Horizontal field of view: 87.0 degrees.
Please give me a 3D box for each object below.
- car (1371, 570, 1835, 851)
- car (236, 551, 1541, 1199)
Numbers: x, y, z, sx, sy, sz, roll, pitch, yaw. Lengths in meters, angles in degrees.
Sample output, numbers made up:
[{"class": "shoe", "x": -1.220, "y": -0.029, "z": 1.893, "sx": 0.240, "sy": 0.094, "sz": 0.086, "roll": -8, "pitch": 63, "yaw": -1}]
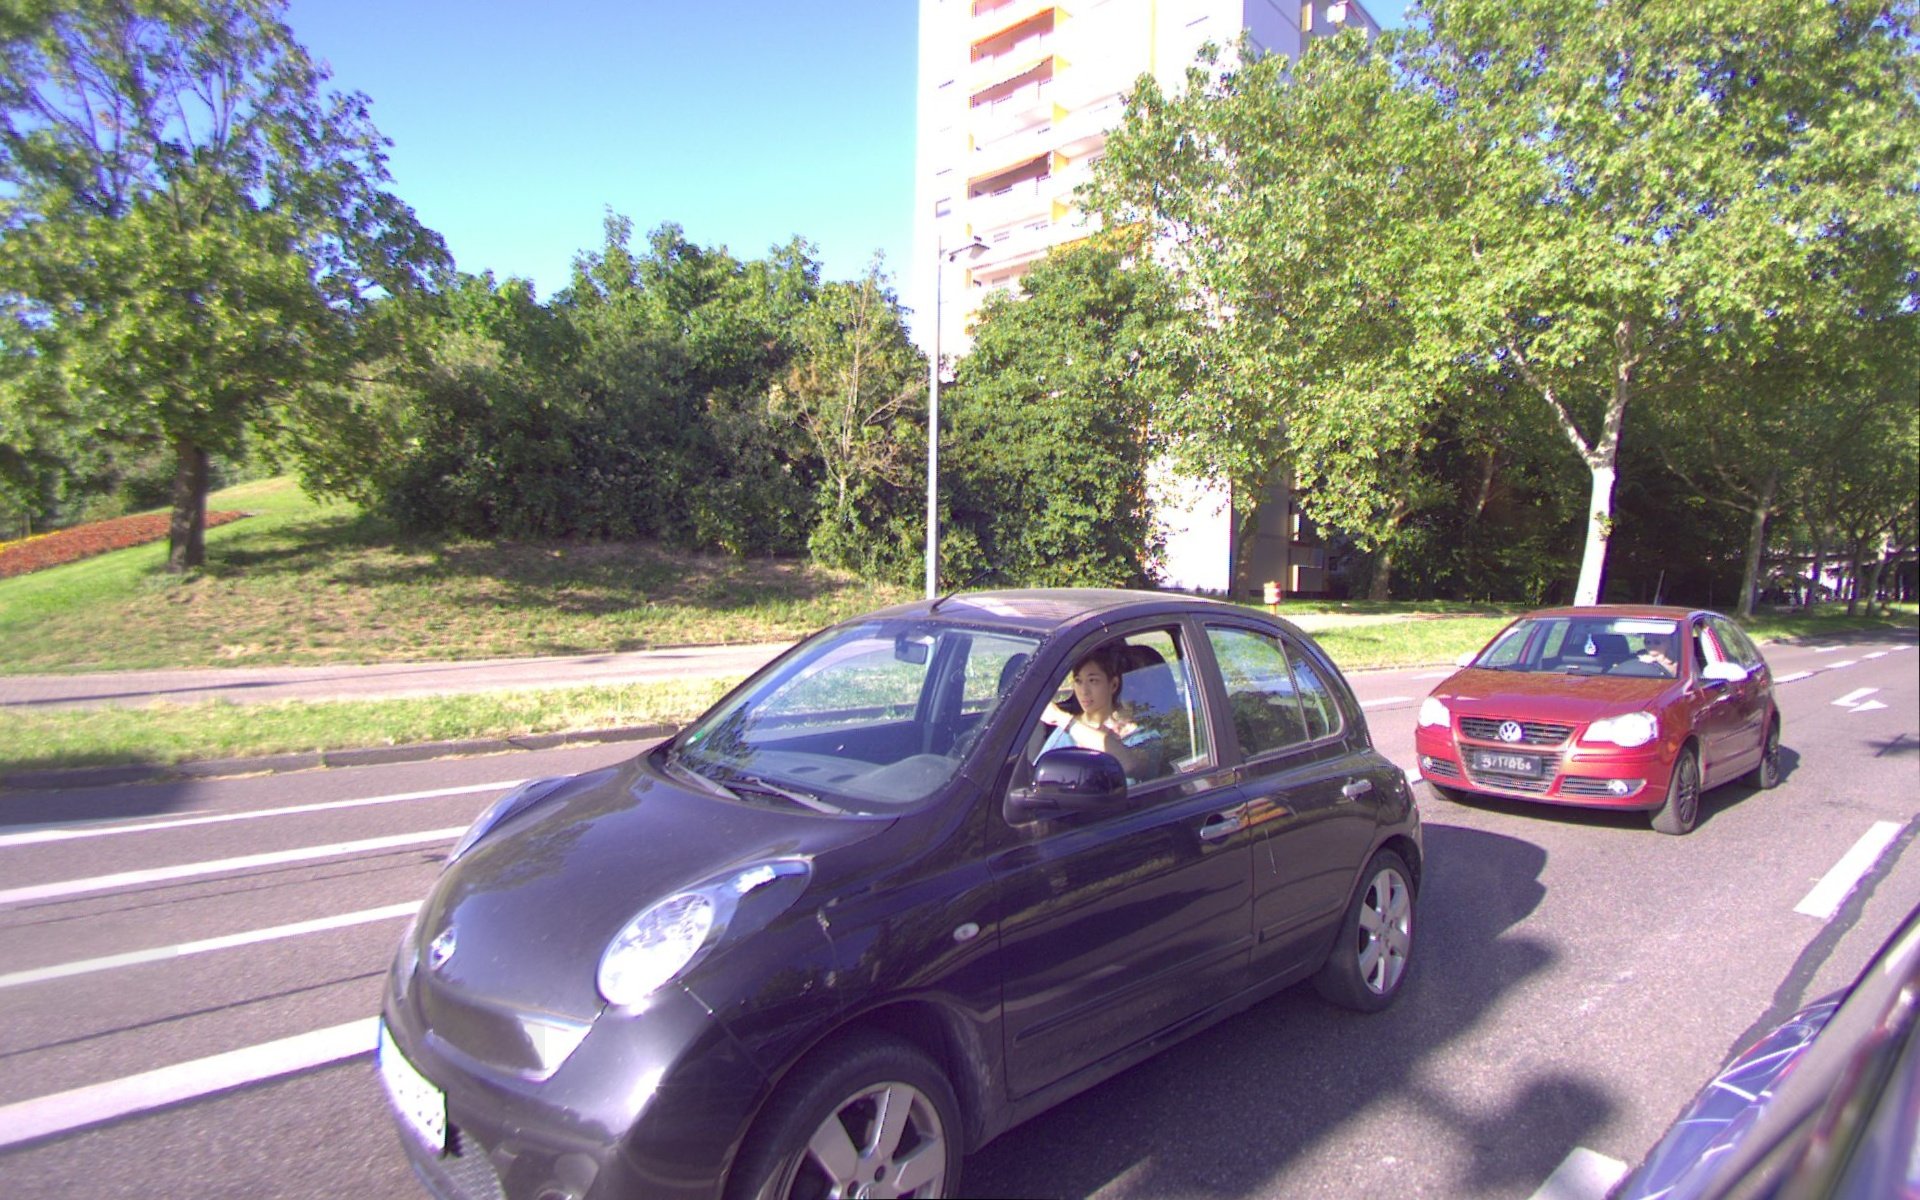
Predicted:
[{"class": "car", "x": 5.201, "y": 0.607, "z": 7.887, "sx": 4.643, "sy": 1.578, "sz": 1.771, "roll": 0, "pitch": 1, "yaw": -41}, {"class": "car", "x": 0.314, "y": 0.668, "z": 3.599, "sx": 4.543, "sy": 1.501, "sz": 1.737, "roll": 0, "pitch": 1, "yaw": -42}]
